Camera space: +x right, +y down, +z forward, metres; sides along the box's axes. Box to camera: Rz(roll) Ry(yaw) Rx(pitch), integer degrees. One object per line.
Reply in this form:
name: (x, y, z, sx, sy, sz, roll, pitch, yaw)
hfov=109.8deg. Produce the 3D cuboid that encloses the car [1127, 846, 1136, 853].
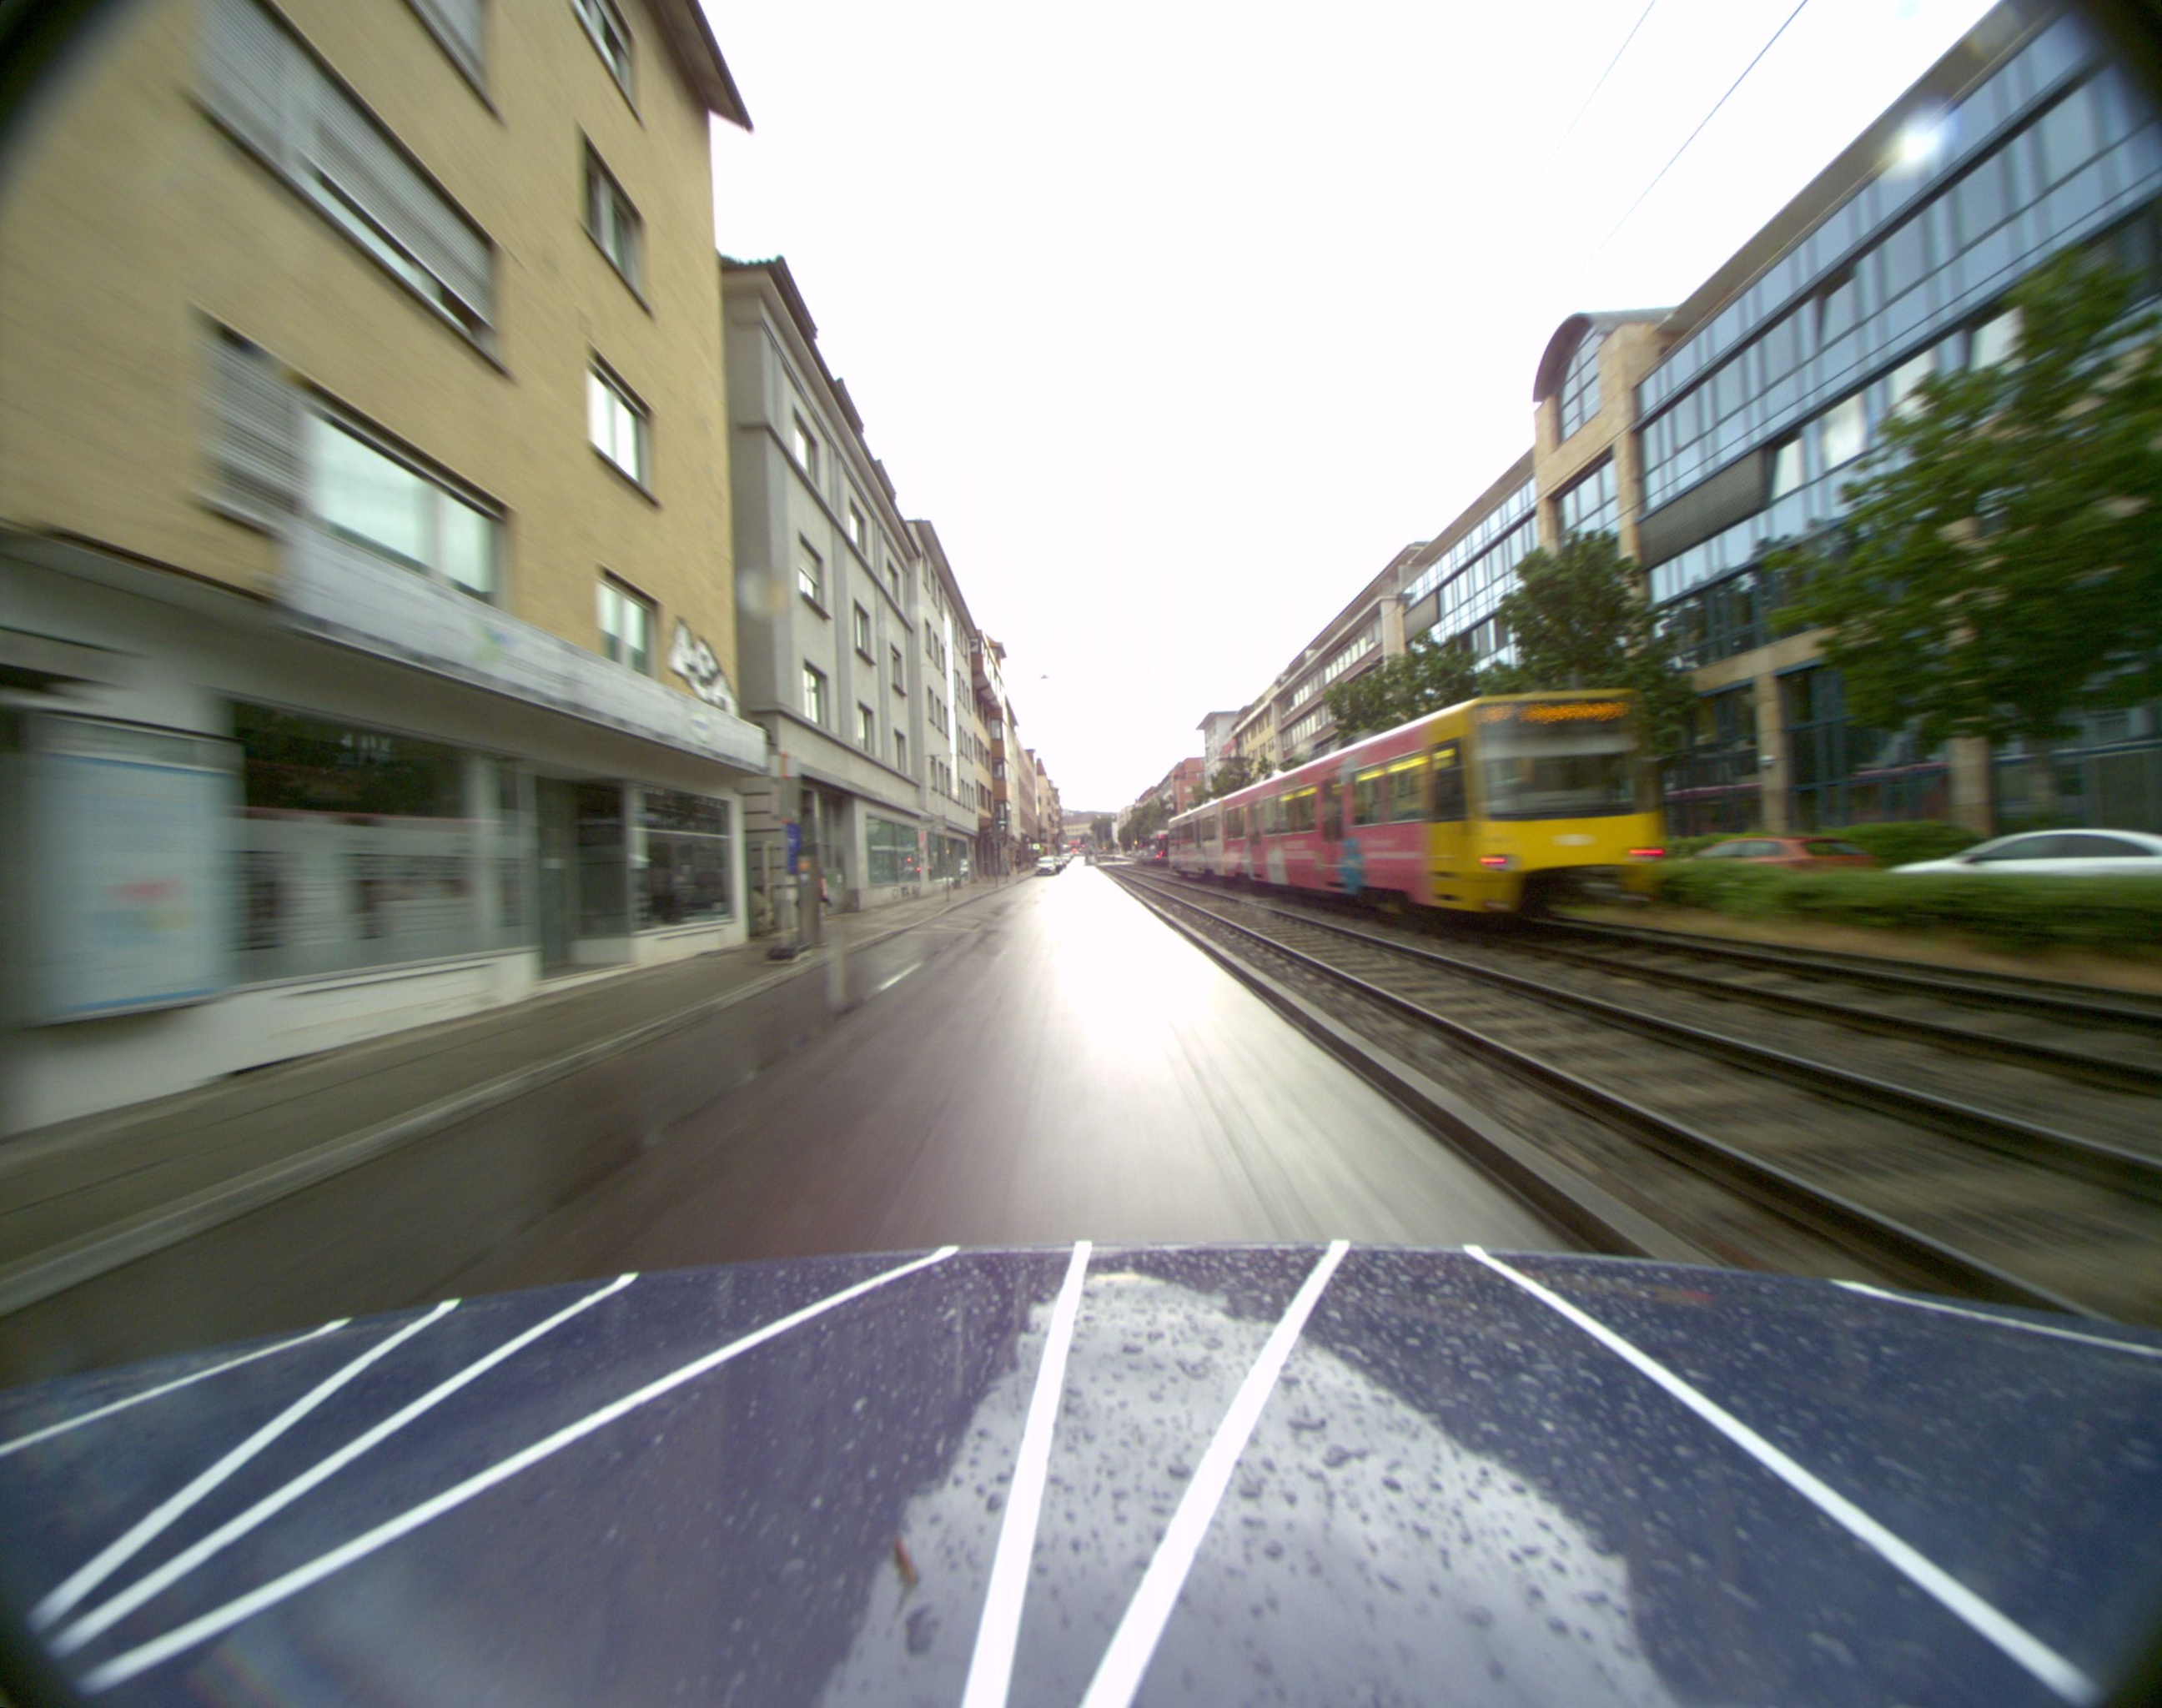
car: (13.827, -1.313, 207.148, 1.999, 1.779, 3.999, -2, 0, -1)

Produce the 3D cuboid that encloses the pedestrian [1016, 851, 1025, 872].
pedestrian: (-5.083, 0.630, 64.208, 0.640, 1.690, 0.883, -2, 1, 1)

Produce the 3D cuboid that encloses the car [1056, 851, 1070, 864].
car: (-2.305, 0.405, 98.430, 1.653, 1.584, 4.067, -2, 0, 1)

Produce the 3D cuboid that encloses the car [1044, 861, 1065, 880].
car: (-2.397, 1.478, 69.073, 1.653, 1.584, 4.067, -2, 0, 1)

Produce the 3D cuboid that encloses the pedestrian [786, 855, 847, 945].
pedestrian: (-5.073, 0.864, 14.610, 0.793, 1.649, 0.721, -4, 1, 0)

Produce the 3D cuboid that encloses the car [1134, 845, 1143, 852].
car: (14.184, -1.411, 187.894, 1.999, 1.652, 3.999, -2, 0, -1)

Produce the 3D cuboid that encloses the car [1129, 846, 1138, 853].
car: (13.907, -1.297, 201.803, 1.999, 1.779, 4.163, -2, 0, -1)

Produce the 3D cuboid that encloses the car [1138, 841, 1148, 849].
car: (14.519, -2.055, 178.166, 1.999, 1.652, 3.999, -2, 1, -1)

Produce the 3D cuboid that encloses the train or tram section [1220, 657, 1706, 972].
train or tram section: (6.750, -0.619, 19.367, 2.909, 4.027, 18.764, -2, 1, 0)

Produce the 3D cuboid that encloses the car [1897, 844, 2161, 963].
car: (14.816, 0.629, 10.936, 1.653, 1.489, 4.192, -2, 0, 1)

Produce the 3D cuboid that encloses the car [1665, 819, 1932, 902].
car: (14.986, 0.109, 16.266, 1.653, 1.489, 4.292, -2, 0, 1)

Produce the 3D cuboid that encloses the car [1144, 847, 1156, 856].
car: (15.120, -0.544, 166.714, 1.999, 1.652, 3.999, -3, 0, -1)

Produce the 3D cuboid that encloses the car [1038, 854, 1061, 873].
car: (-2.610, 0.814, 64.220, 1.653, 1.489, 4.067, -2, 0, 1)

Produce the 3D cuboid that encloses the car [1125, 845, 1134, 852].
car: (13.991, -1.518, 218.939, 1.999, 1.779, 3.999, -2, 0, -1)

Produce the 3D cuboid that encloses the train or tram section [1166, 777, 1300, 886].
train or tram section: (6.778, -0.945, 37.972, 2.909, 4.027, 18.408, -2, 1, 0)

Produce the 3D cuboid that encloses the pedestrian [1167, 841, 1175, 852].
pedestrian: (10.303, -0.853, 87.195, 0.815, 1.248, 0.637, -2, 1, -2)

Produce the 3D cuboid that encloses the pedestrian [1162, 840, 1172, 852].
pedestrian: (9.962, -0.895, 87.847, 0.958, 1.378, 0.637, -2, 1, -2)

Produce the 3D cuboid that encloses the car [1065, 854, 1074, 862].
car: (-2.390, 0.775, 153.336, 1.653, 1.584, 4.067, -2, 0, 1)

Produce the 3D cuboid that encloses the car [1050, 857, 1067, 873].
car: (-2.481, 1.169, 83.443, 1.653, 1.584, 4.067, -2, 0, 1)
